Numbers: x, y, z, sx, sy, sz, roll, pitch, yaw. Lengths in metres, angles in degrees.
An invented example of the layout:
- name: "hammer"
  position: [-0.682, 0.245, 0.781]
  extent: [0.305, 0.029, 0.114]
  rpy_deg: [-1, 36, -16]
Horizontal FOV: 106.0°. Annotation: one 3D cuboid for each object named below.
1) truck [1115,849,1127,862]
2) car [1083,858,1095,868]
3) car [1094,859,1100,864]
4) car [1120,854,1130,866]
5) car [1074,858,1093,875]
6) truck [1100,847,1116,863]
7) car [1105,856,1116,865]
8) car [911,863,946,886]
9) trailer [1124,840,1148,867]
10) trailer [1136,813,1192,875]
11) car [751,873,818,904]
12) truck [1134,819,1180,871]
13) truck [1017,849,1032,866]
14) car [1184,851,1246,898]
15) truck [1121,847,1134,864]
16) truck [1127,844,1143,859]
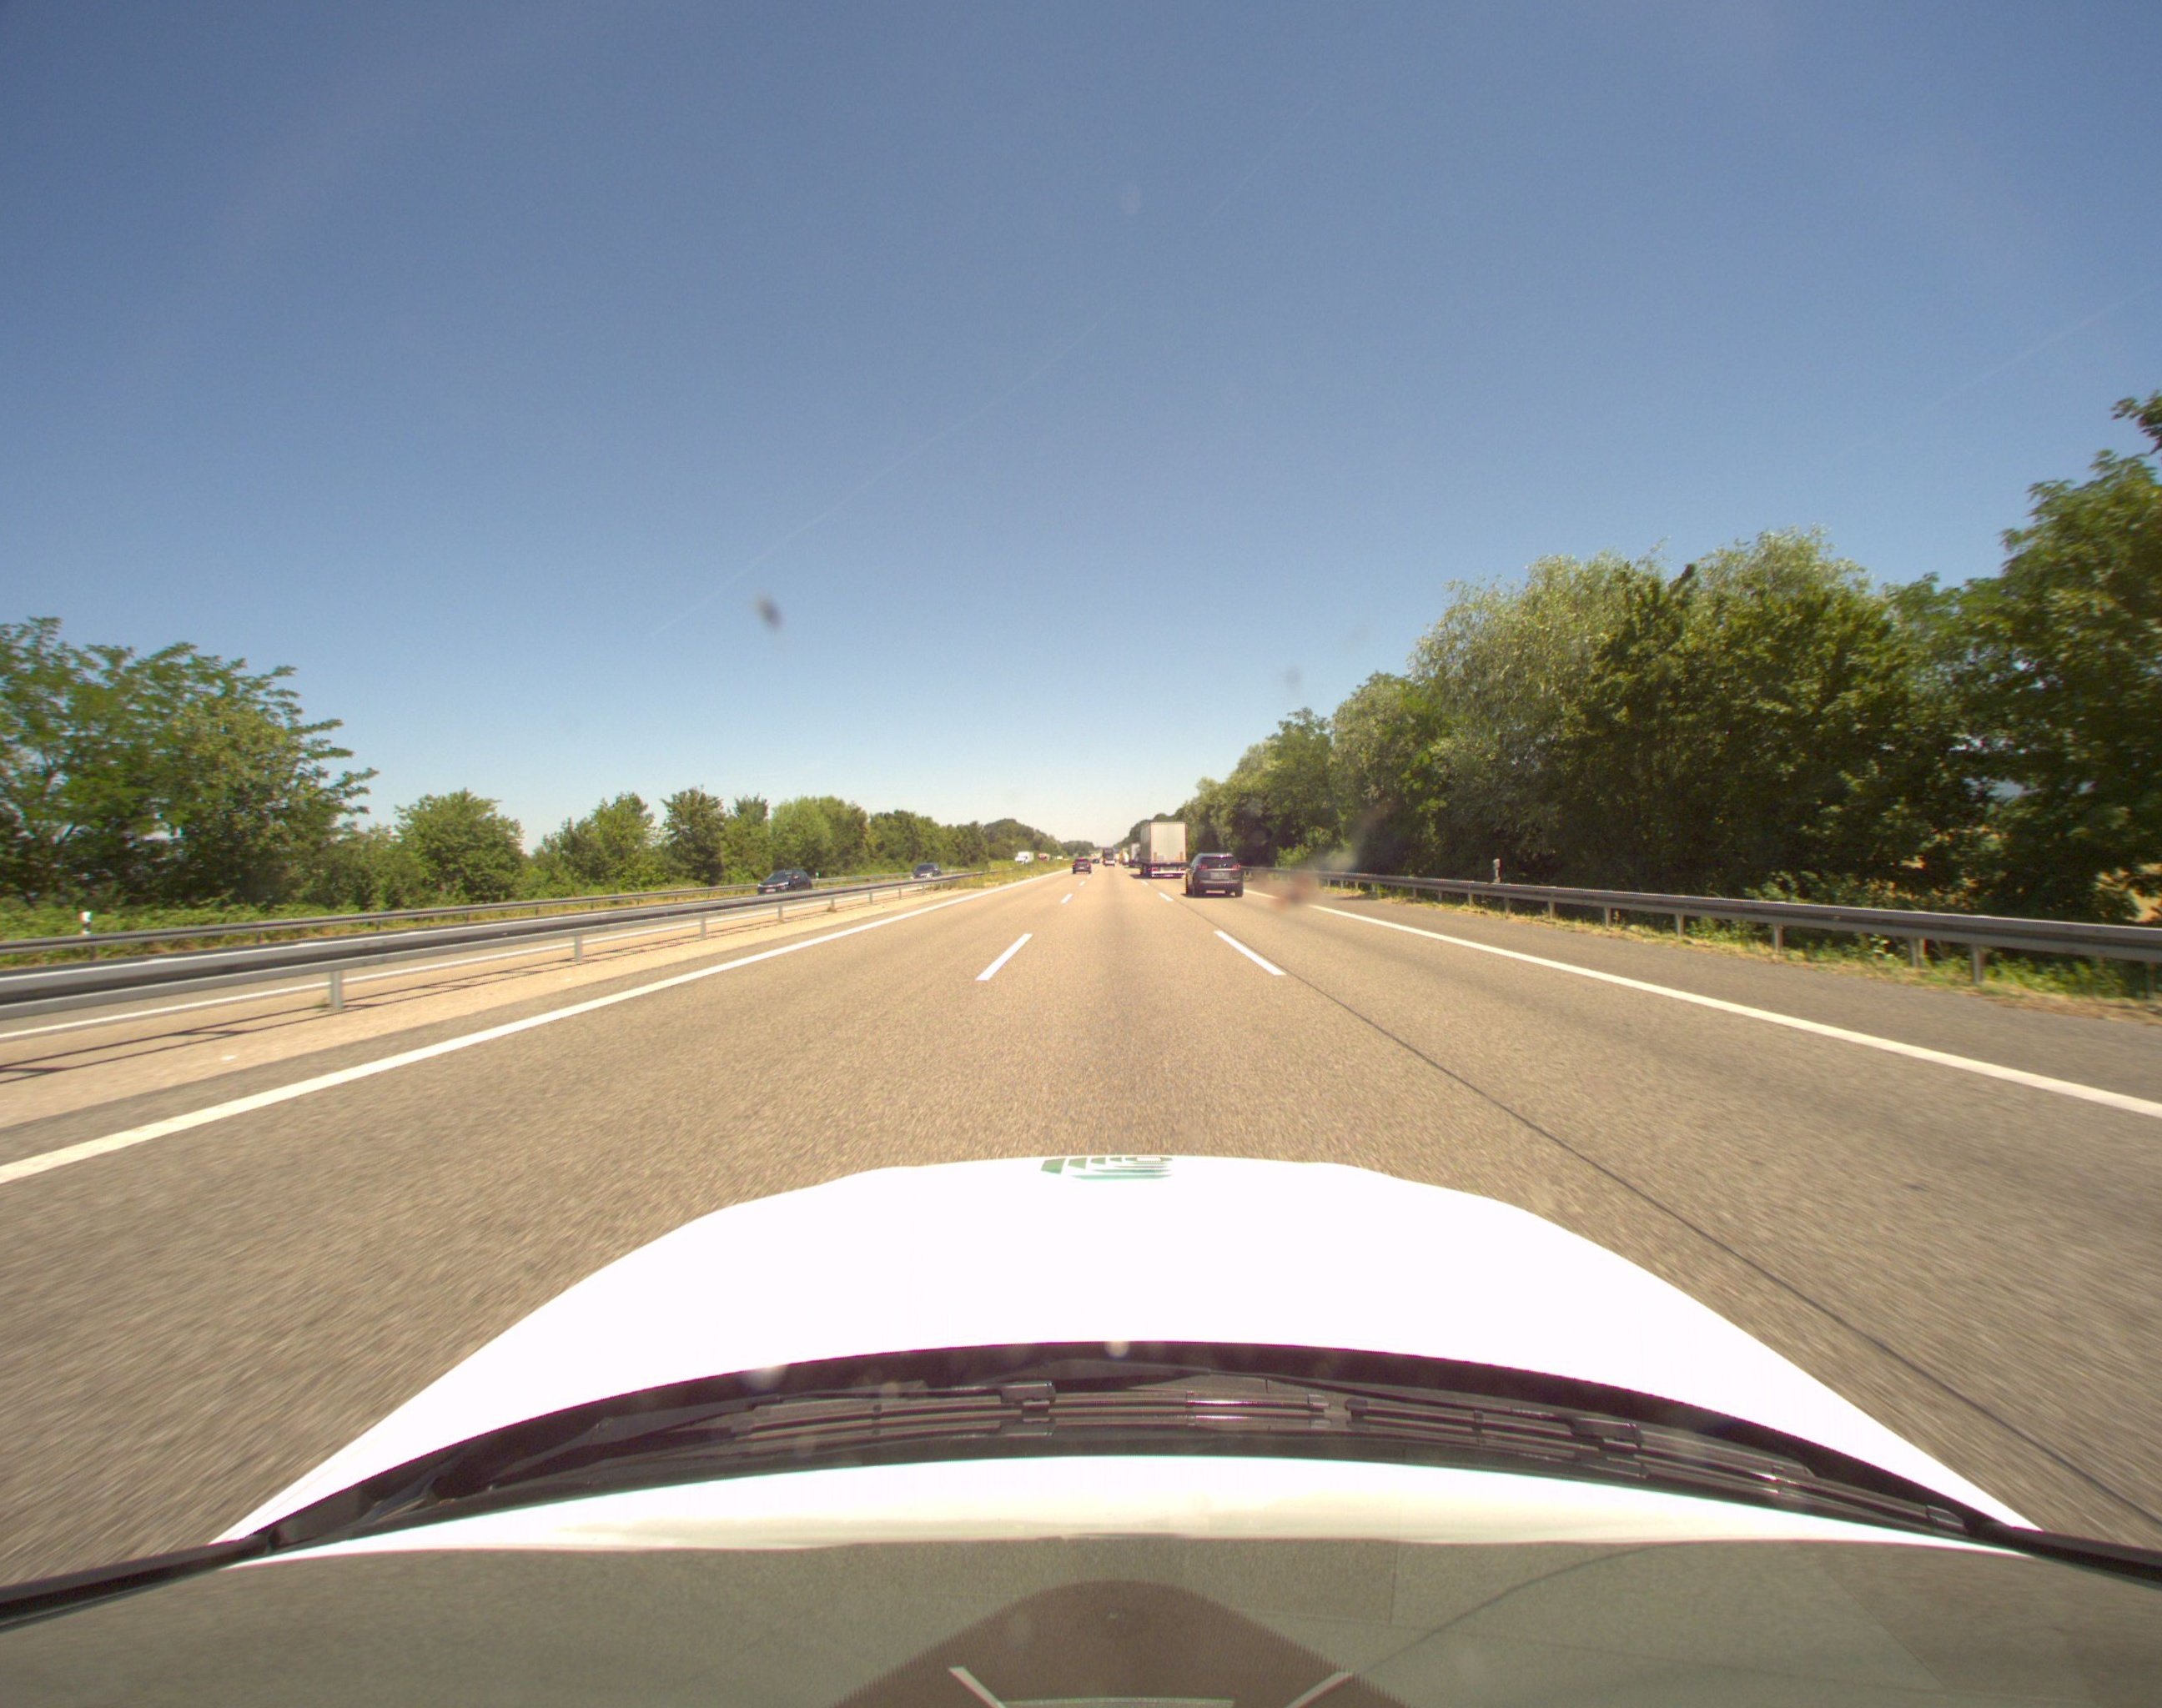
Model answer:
- name: "truck"
  position: [12.057, 0.316, 244.344]
  extent: [3.474, 3.725, 7.114]
  rpy_deg: [0, 0, 3]
- name: "car"
  position: [1.395, 1.571, 139.805]
  extent: [1.893, 1.531, 4.086]
  rpy_deg: [0, 1, 2]
- name: "car"
  position: [5.010, 2.229, 253.821]
  extent: [1.900, 1.531, 4.288]
  rpy_deg: [0, 1, 2]
- name: "car"
  position: [8.935, 1.256, 164.976]
  extent: [1.900, 2.425, 4.288]
  rpy_deg: [0, 1, 2]
- name: "car"
  position: [0.252, 1.201, 80.396]
  extent: [1.752, 1.531, 4.288]
  rpy_deg: [0, 1, 2]
- name: "truck"
  position: [6.649, 0.293, 197.824]
  extent: [3.652, 3.725, 7.114]
  rpy_deg: [0, 0, 3]
- name: "car"
  position: [5.442, 1.124, 148.981]
  extent: [1.893, 1.531, 4.086]
  rpy_deg: [0, 1, 2]
- name: "car"
  position: [-10.709, 1.409, 57.554]
  extent: [1.547, 1.462, 4.048]
  rpy_deg: [-2, 0, 1]
- name: "trailer"
  position: [8.254, -0.105, 122.352]
  extent: [3.111, 3.926, 9.938]
  rpy_deg: [0, 0, 1]
- name: "trailer"
  position: [6.170, -0.653, 62.559]
  extent: [3.421, 4.181, 13.639]
  rpy_deg: [0, 0, 2]
- name: "car"
  position: [-16.064, 1.848, 44.379]
  extent: [1.856, 1.401, 4.533]
  rpy_deg: [-3, 0, 1]
- name: "truck"
  position: [6.381, -0.671, 69.323]
  extent: [3.451, 4.177, 6.847]
  rpy_deg: [0, -1, 2]
- name: "truck"
  position: [-14.141, 0.865, 203.546]
  extent: [3.060, 4.111, 6.528]
  rpy_deg: [0, 0, 1]
- name: "car"
  position: [5.058, 0.715, 31.194]
  extent: [1.838, 1.629, 4.137]
  rpy_deg: [-2, 0, 2]
- name: "truck"
  position: [10.756, 0.269, 188.898]
  extent: [2.781, 3.725, 7.114]
  rpy_deg: [0, 0, 3]
- name: "truck"
  position: [13.071, -0.660, 197.843]
  extent: [3.652, 3.725, 7.114]
  rpy_deg: [0, 0, 3]
